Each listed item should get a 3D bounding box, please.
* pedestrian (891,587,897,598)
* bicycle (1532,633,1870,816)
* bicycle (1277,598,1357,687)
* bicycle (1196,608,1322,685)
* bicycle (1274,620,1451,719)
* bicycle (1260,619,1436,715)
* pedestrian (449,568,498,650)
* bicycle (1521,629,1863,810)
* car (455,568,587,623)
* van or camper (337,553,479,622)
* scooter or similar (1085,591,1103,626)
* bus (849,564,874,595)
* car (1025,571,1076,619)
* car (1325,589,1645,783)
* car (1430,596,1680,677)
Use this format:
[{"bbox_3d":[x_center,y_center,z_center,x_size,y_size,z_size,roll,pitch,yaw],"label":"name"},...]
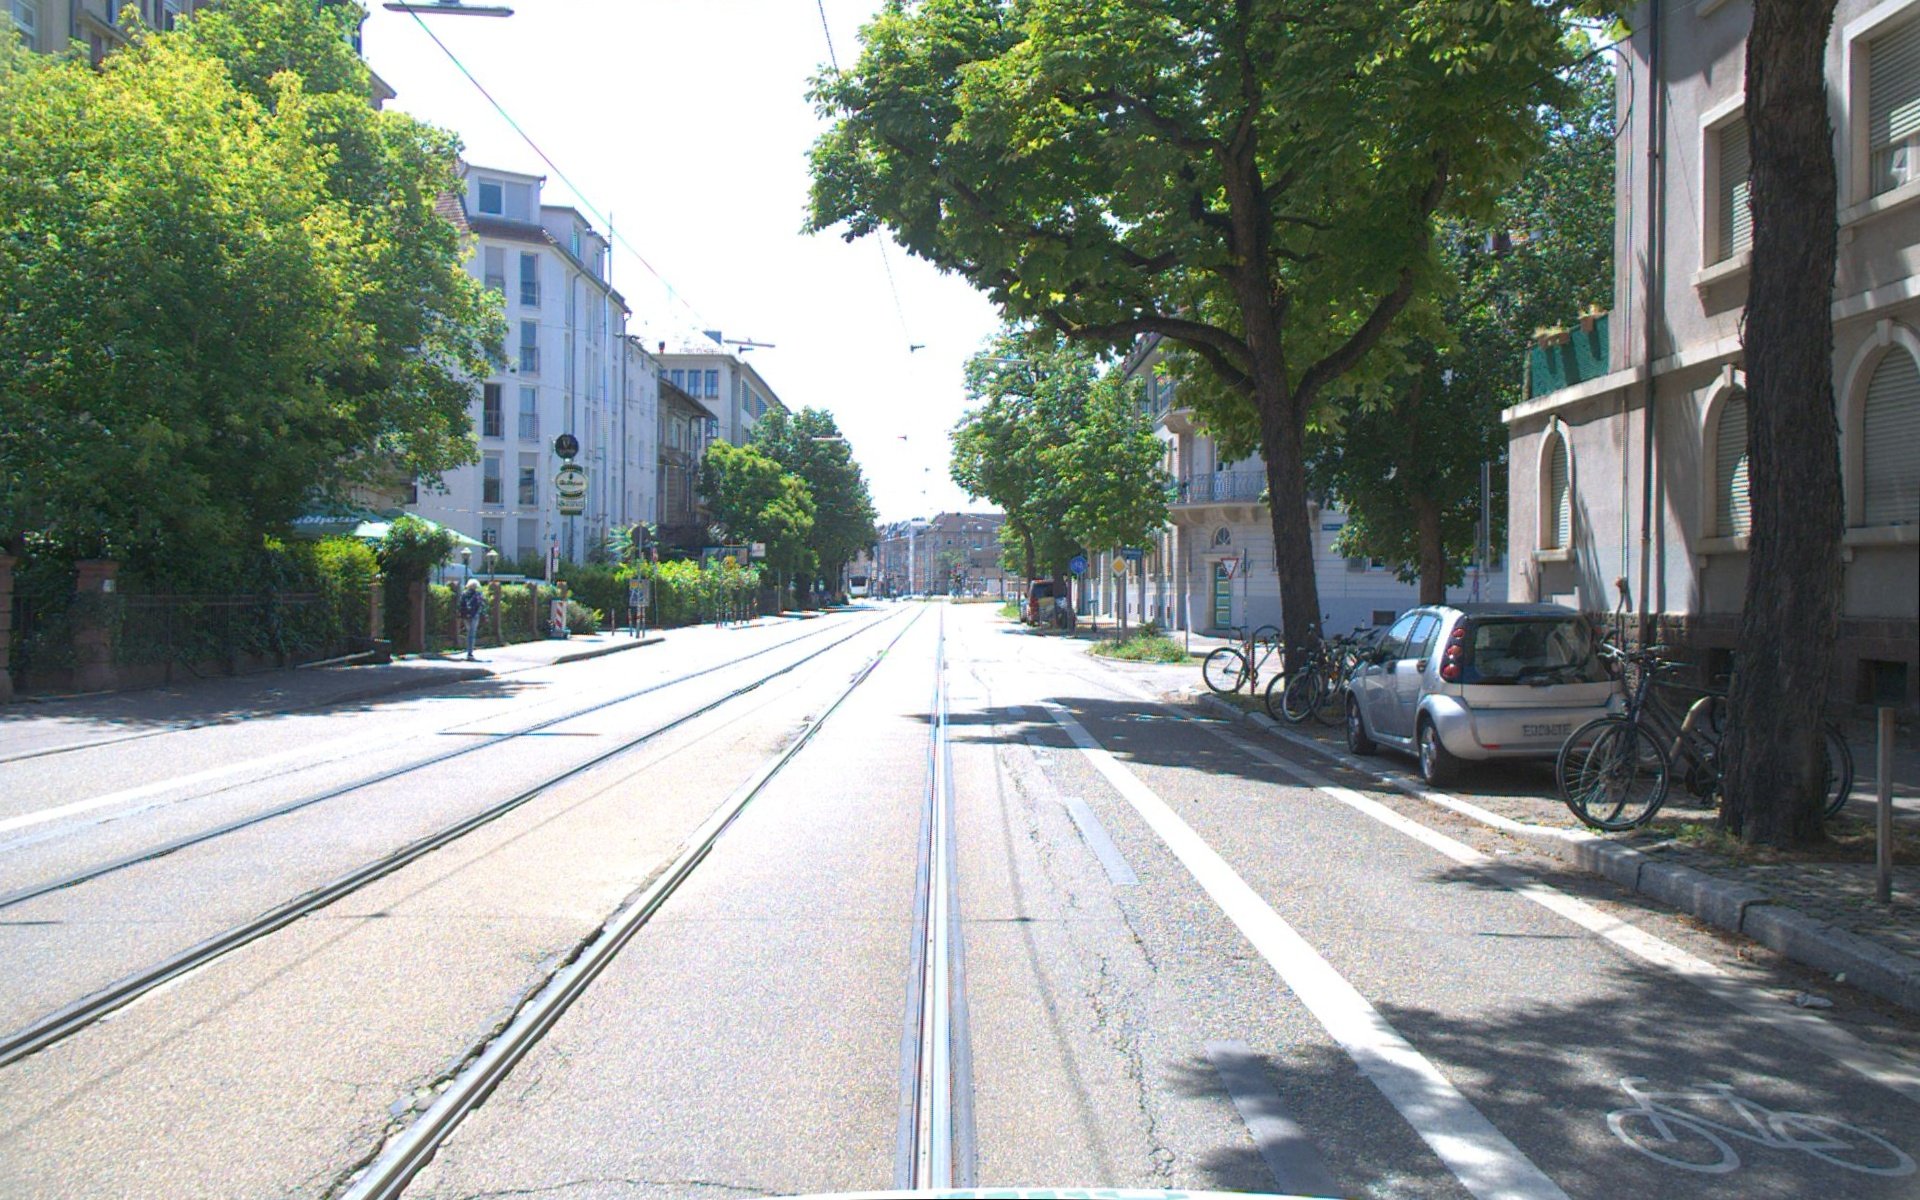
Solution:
[{"bbox_3d":[-7.256,-0.825,181.176,0.484,1.193,0.586,1,0,-24],"label":"pedestrian"},{"bbox_3d":[4.602,0.759,10.356,1.849,1.070,0.538,1,0,6],"label":"bicycle"},{"bbox_3d":[5.232,0.614,24.346,0.569,1.252,2.004,0,-1,-6],"label":"bicycle"},{"bbox_3d":[4.423,0.684,24.531,1.779,1.133,0.493,0,-1,-2],"label":"bicycle"},{"bbox_3d":[4.681,0.808,19.315,1.922,1.133,0.599,0,-1,1],"label":"bicycle"},{"bbox_3d":[4.660,0.804,19.930,1.968,1.133,0.640,0,-1,1],"label":"bicycle"},{"bbox_3d":[-10.134,0.189,34.450,0.735,1.657,0.833,1,0,0],"label":"pedestrian"},{"bbox_3d":[4.684,0.751,10.676,1.921,1.082,0.599,1,0,6],"label":"bicycle"},{"bbox_3d":[-16.619,-0.172,62.610,4.386,1.937,2.001,1,0,16],"label":"car"},{"bbox_3d":[-18.222,-0.389,54.816,1.952,2.156,4.801,1,0,18],"label":"van or camper"},{"bbox_3d":[4.977,0.303,61.369,0.491,1.251,1.573,1,0,-1],"label":"scooter or similar"},{"bbox_3d":[-13.695,-2.808,231.210,2.871,4.005,11.272,3,0,-1],"label":"bus"},{"bbox_3d":[3.985,-0.244,73.724,1.952,2.071,4.696,1,1,-1],"label":"car"},{"bbox_3d":[4.554,0.684,14.916,1.589,1.473,3.809,-2,0,-1],"label":"car"},{"bbox_3d":[12.033,0.693,33.479,4.590,1.462,1.736,1,1,27],"label":"car"}]
